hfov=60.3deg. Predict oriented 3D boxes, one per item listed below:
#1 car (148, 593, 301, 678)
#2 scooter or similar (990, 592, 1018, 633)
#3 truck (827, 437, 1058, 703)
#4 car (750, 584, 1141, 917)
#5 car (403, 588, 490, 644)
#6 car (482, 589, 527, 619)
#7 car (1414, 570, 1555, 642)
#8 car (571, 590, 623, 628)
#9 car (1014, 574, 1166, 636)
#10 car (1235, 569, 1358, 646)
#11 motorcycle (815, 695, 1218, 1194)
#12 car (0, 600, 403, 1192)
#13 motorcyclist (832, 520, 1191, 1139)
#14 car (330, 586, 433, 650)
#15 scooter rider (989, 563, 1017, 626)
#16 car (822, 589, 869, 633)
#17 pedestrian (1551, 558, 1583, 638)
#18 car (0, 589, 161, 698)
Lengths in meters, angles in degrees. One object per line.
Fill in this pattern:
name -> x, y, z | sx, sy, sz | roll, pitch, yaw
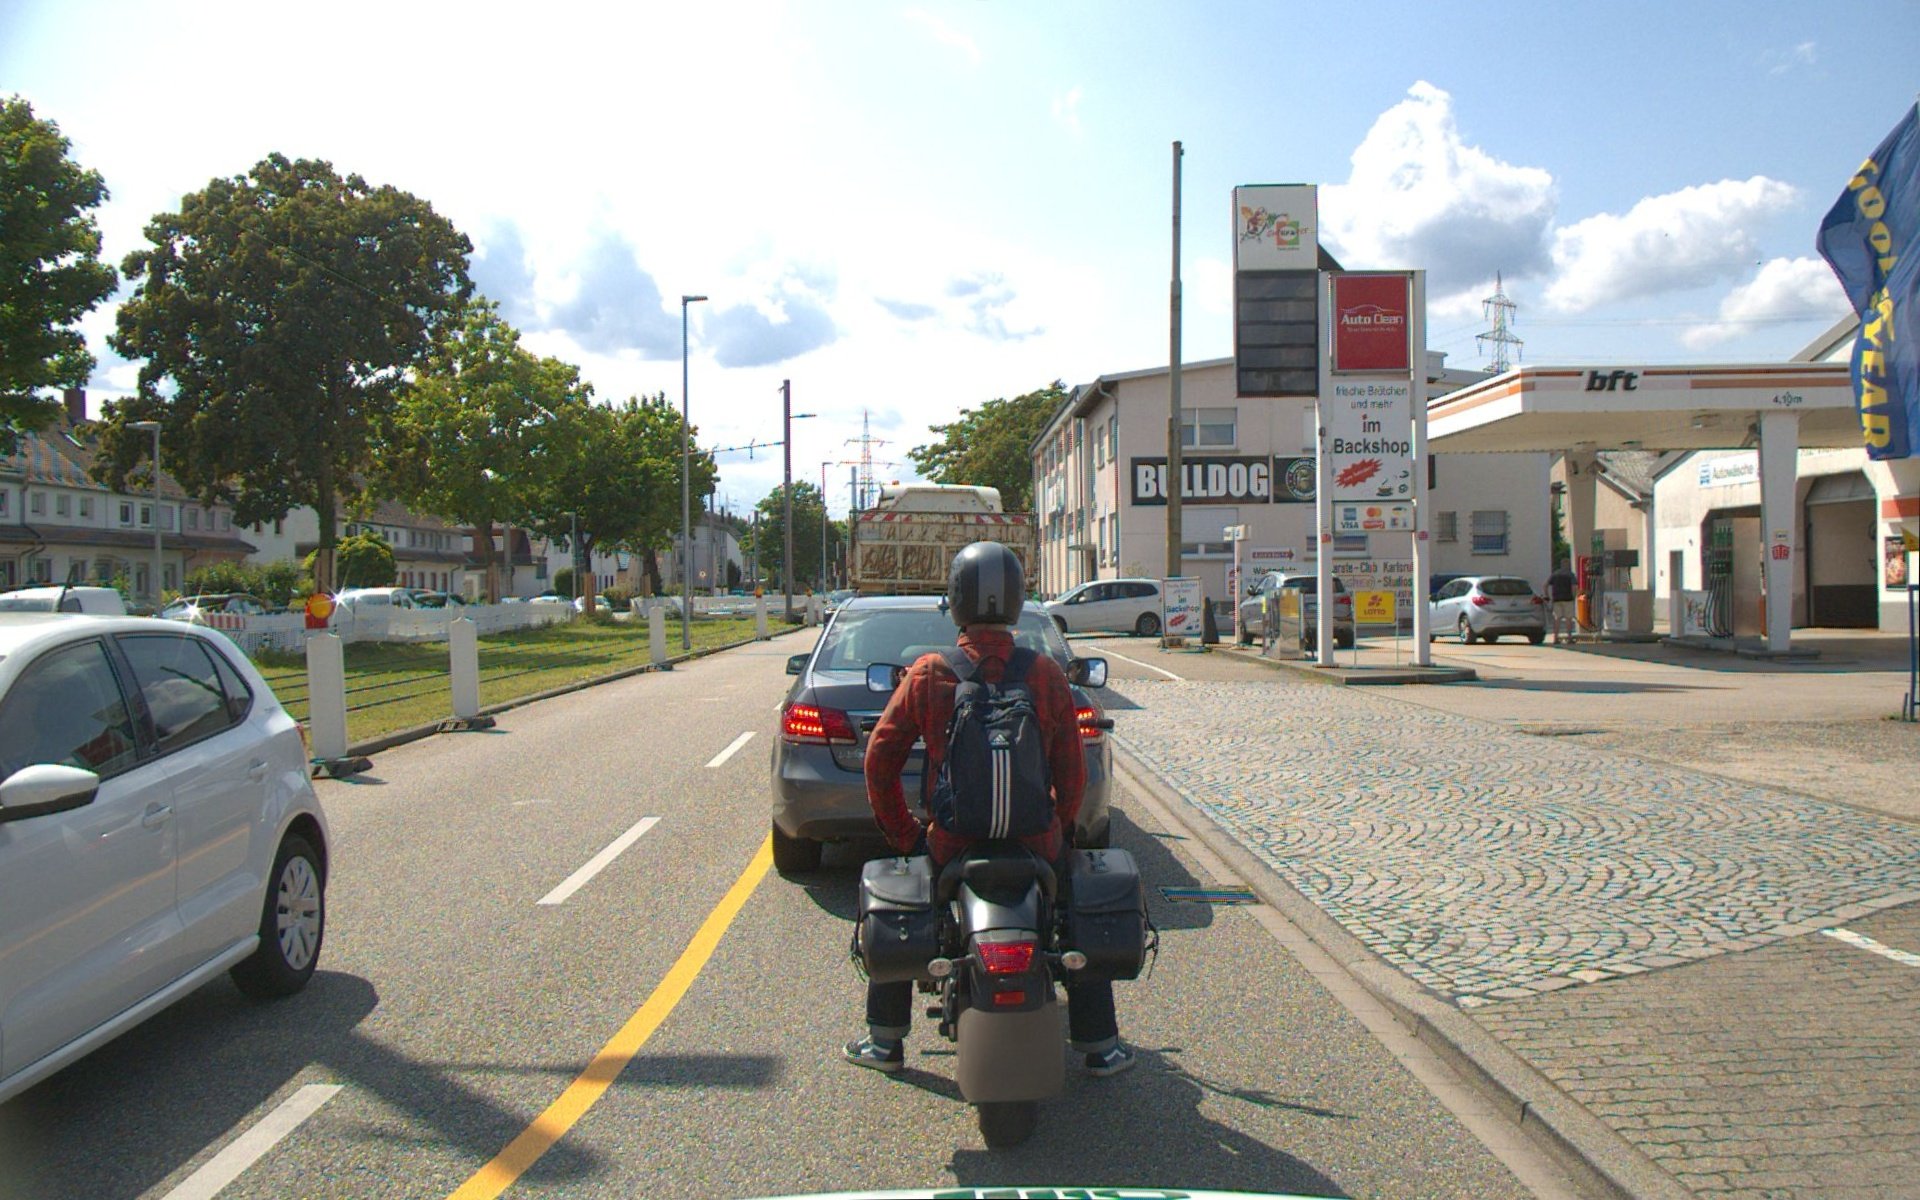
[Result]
car -> -16.670, 0.756, 37.713 | 1.664, 1.770, 4.053 | -1, 0, -1
scooter or similar -> 1.312, 0.366, 49.534 | 0.779, 1.165, 1.519 | -1, 0, -1
truck -> -0.354, -0.422, 25.464 | 2.910, 3.362, 8.404 | -1, 0, -2
car -> -0.127, 0.683, 9.726 | 1.795, 1.505, 4.008 | -1, 0, -2
car -> -17.017, 0.496, 54.977 | 1.664, 1.770, 3.860 | -1, 0, -1
car -> -28.661, 0.228, 104.143 | 1.664, 1.770, 4.061 | -1, 0, -1
car -> 11.774, 0.103, 37.415 | 1.795, 1.505, 4.008 | -1, 0, -2
car -> -17.435, 0.404, 79.533 | 1.664, 1.770, 3.860 | -1, 0, -1
car -> 3.672, 0.118, 47.079 | 4.029, 1.652, 1.682 | -1, 0, -9
car -> 7.404, 0.143, 36.750 | 1.795, 1.562, 4.008 | -1, 0, -2
motorcycle -> 0.119, 0.900, 5.189 | 0.956, 1.031, 2.431 | 1, 0, -1
car -> -3.244, 0.756, 5.037 | 1.680, 1.438, 4.261 | -1, 0, -1
motorcyclist -> 0.131, 0.618, 5.071 | 0.950, 1.662, 1.214 | 1, 0, -1
car -> -16.941, 0.493, 48.611 | 1.664, 1.770, 3.860 | -1, 0, -1
scooter rider -> 1.297, -0.170, 49.594 | 0.779, 1.850, 0.508 | -1, 0, -1
car -> -4.533, 0.423, 66.135 | 1.646, 1.652, 4.118 | -1, 0, -1
pedestrian -> 13.137, -0.047, 35.787 | 0.621, 1.712, 0.622 | -1, 0, 20
car -> -16.416, 0.743, 30.290 | 1.664, 1.849, 3.860 | -1, 0, -1
